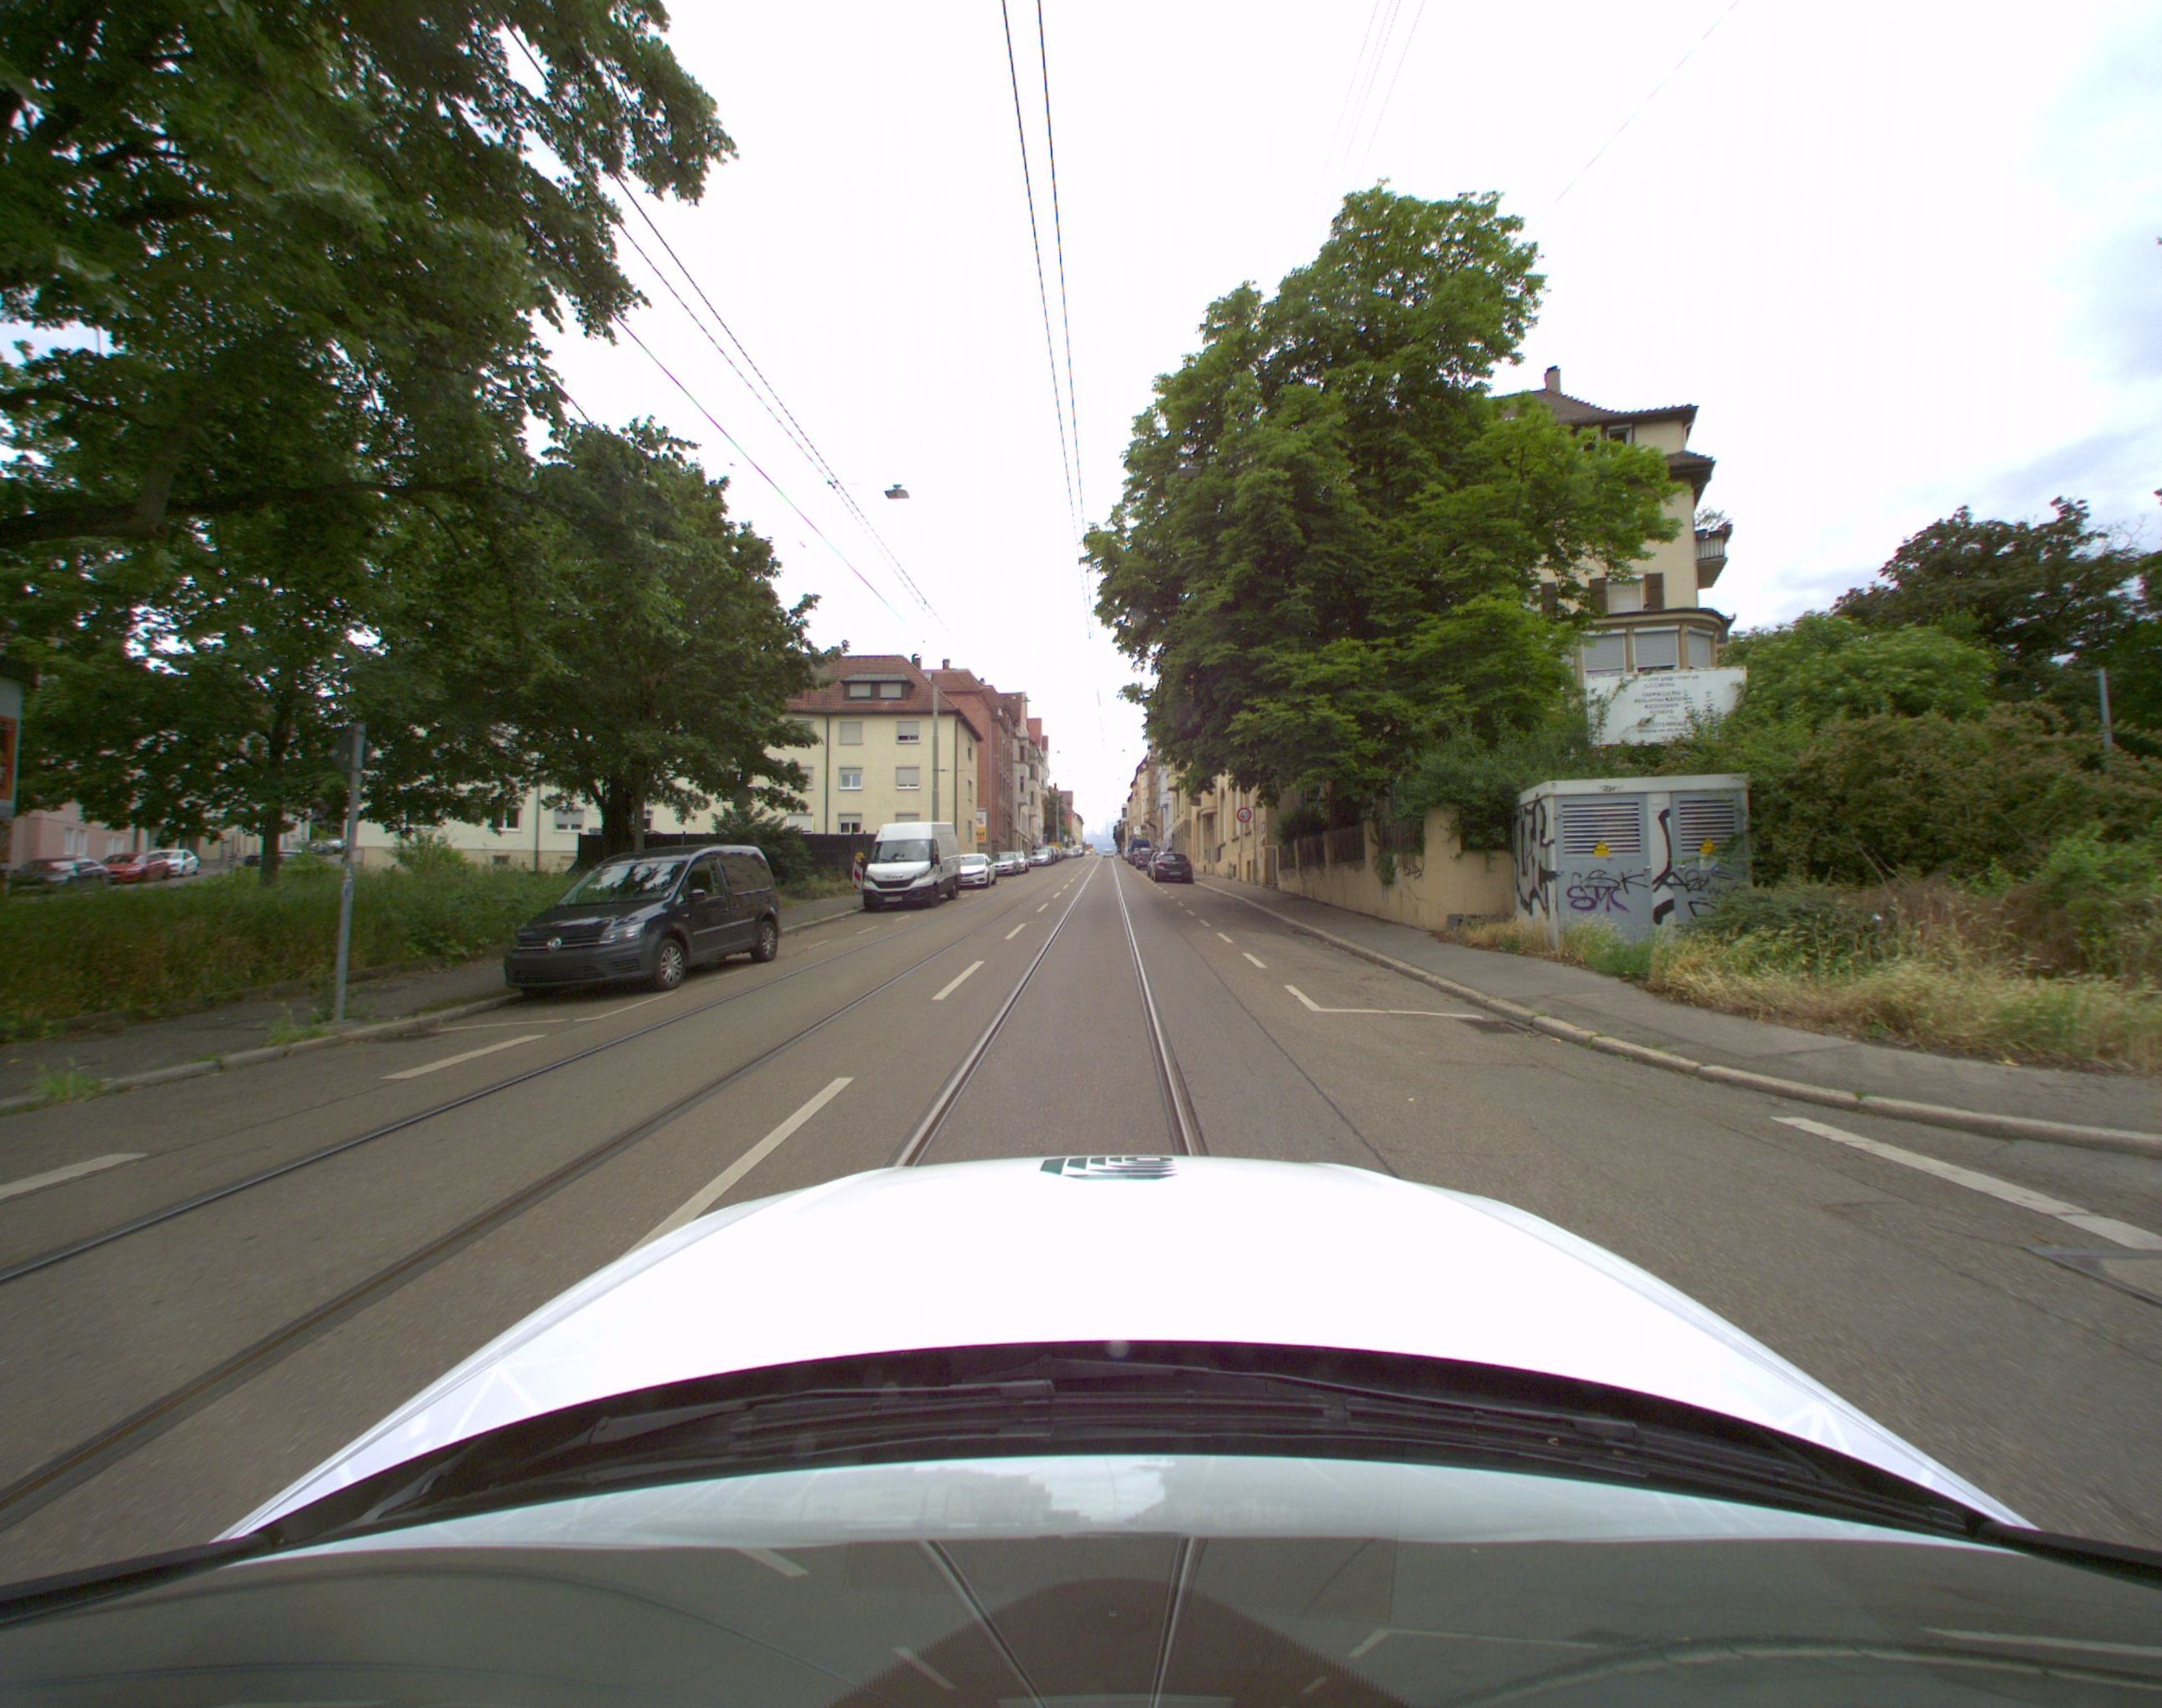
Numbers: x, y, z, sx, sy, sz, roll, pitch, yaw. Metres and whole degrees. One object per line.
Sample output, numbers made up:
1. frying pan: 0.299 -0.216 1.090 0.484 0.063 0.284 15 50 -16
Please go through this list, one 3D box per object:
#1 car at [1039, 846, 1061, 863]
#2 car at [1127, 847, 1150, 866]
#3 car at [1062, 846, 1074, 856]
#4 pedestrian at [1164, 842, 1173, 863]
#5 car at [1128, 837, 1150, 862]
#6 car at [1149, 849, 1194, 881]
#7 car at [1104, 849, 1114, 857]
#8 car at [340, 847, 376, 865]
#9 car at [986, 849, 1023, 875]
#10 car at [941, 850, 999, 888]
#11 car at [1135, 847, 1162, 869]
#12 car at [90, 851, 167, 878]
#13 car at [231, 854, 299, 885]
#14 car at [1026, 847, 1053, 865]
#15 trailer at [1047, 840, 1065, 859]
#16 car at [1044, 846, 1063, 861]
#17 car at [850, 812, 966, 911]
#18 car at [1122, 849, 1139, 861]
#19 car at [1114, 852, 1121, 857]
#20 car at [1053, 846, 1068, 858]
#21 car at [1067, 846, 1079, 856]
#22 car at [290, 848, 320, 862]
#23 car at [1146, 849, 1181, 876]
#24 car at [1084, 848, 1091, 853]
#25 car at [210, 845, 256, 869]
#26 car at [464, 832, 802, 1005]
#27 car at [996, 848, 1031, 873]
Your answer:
1. car: -3.228 -0.015 86.303 1.866 1.664 4.895 -2 1 2
2. car: 5.084 0.191 72.752 1.773 1.530 4.193 3 0 1
3. car: -2.196 -0.475 136.108 1.689 1.556 3.853 0 0 3
4. pedestrian: 7.184 -0.108 66.704 0.540 1.682 0.515 -4 -2 -7
5. car: 5.556 -0.394 78.489 1.986 2.376 5.058 0 0 2
6. car: 4.326 0.506 39.450 1.833 1.403 4.169 1 0 2
7. car: 5.012 -0.200 147.708 1.666 1.513 3.798 0 0 1
8. car: -58.029 0.166 65.389 1.683 1.415 3.691 1 0 -35
9. car: -4.554 0.470 48.738 1.594 1.368 3.810 -4 1 3
10. car: -4.722 0.615 35.172 1.712 1.403 4.315 -3 1 2
11. car: 5.043 0.244 60.895 1.820 1.519 4.030 2 1 2
12. car: -45.072 0.474 38.609 1.463 1.235 3.740 1 0 -35
13. car: -40.295 0.715 40.287 1.683 1.415 3.691 1 0 -35
14. car: -3.666 0.141 72.514 1.820 1.429 4.842 -2 1 2
15. trailer: -2.904 -0.556 96.537 1.741 2.155 4.074 -2 1 2
16. car: -3.105 -0.064 92.371 1.690 1.593 4.271 -2 1 2
17. car: -5.222 0.161 25.609 2.151 2.606 6.219 -3 1 0
18. car: 6.061 0.116 100.059 1.744 1.390 4.308 2 0 1
19. car: 11.625 0.113 258.254 1.986 1.563 4.292 0 0 2
20. car: -2.692 -0.238 108.170 1.690 1.468 3.025 -2 0 2
21. car: -1.457 -0.518 147.410 1.736 1.735 4.523 -2 0 3
22. car: -70.382 0.050 73.860 1.463 1.235 3.384 1 0 -35
23. car: 4.573 0.438 45.569 1.688 1.404 3.670 2 1 2
24. car: 2.012 -0.997 240.346 1.848 1.607 4.299 0 0 2
25. car: -57.394 0.248 55.162 1.464 1.479 3.739 1 -2 -35
26. car: -5.696 0.696 11.220 1.754 1.775 4.672 -4 0 3
27. car: -4.362 0.375 53.479 1.822 1.429 4.627 -4 1 0
